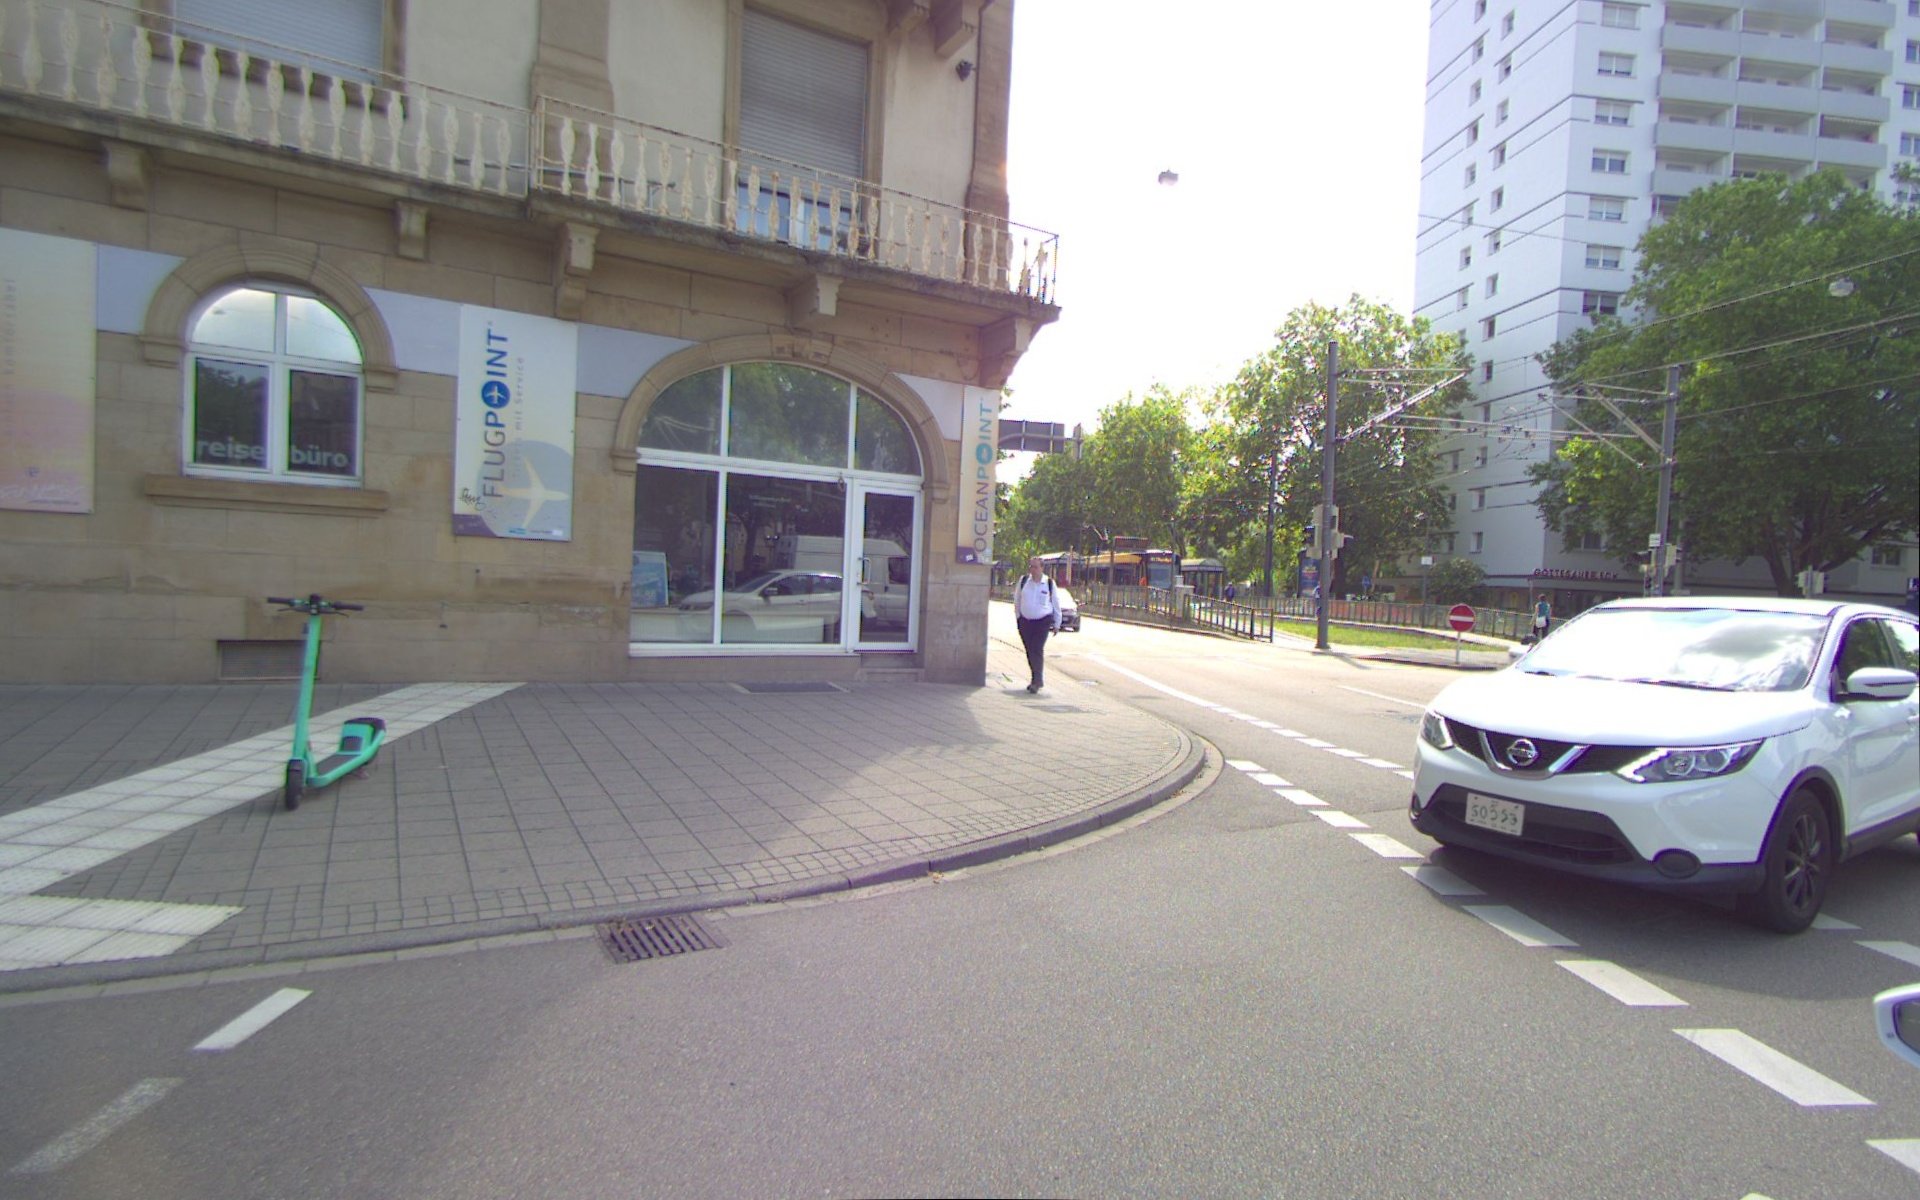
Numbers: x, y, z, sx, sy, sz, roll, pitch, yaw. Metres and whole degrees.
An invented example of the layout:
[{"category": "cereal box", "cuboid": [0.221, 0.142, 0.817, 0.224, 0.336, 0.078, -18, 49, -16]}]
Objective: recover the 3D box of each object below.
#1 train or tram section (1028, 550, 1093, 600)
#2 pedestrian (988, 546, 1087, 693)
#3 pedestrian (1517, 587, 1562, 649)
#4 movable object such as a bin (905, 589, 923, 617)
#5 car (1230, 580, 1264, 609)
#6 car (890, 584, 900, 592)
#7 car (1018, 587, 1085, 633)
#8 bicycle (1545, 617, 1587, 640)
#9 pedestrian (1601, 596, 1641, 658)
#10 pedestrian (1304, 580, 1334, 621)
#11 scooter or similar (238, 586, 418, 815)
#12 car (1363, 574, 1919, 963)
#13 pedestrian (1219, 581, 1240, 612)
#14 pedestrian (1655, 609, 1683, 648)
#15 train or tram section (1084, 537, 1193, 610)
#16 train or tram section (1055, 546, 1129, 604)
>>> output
[{"category": "train or tram section", "cuboid": [8.036, -1.989, 82.398, 2.681, 3.632, 13.003, 3, 1, -5]}, {"category": "pedestrian", "cuboid": [1.051, 0.258, 13.667, 0.895, 1.884, 0.798, 5, 1, -30]}, {"category": "pedestrian", "cuboid": [18.597, 0.577, 32.264, 0.814, 1.924, 0.845, 3, 1, -5]}, {"category": "movable object such as a bin", "cuboid": [-1.889, 0.116, 41.210, 0.582, 1.133, 0.786, 2, 1, -10]}, {"category": "car", "cuboid": [29.669, -0.577, 104.011, 1.779, 2.812, 4.274, 3, 1, -6]}, {"category": "car", "cuboid": [-11.779, -2.172, 182.555, 1.629, 1.390, 3.473, 2, 1, -6]}, {"category": "car", "cuboid": [3.168, 0.321, 35.445, 1.608, 1.458, 3.639, 2, 1, -7]}, {"category": "bicycle", "cuboid": [30.943, 1.447, 51.318, 1.695, 1.023, 0.534, 3, 1, 22]}, {"category": "pedestrian", "cuboid": [18.593, 0.752, 28.274, 0.613, 1.688, 0.676, 2, 1, 3]}, {"category": "pedestrian", "cuboid": [16.385, 0.000, 45.816, 0.835, 1.804, 1.044, 2, 1, -5]}, {"category": "scooter or similar", "cuboid": [-3.720, 0.541, 6.004, 0.473, 1.161, 1.250, 3, 3, -12]}, {"category": "car", "cuboid": [4.417, 0.710, 5.954, 3.976, 1.603, 1.760, 1, 1, -32]}, {"category": "pedestrian", "cuboid": [16.104, -0.210, 60.030, 0.844, 1.798, 0.876, 3, 1, -5]}, {"category": "pedestrian", "cuboid": [30.495, 1.205, 43.217, 0.525, 1.620, 0.783, 2, 1, -8]}, {"category": "train or tram section", "cuboid": [10.156, -1.519, 59.135, 2.763, 3.632, 13.003, 3, 1, -5]}, {"category": "train or tram section", "cuboid": [9.101, -1.752, 70.796, 2.752, 3.632, 10.393, 3, 1, -5]}]
